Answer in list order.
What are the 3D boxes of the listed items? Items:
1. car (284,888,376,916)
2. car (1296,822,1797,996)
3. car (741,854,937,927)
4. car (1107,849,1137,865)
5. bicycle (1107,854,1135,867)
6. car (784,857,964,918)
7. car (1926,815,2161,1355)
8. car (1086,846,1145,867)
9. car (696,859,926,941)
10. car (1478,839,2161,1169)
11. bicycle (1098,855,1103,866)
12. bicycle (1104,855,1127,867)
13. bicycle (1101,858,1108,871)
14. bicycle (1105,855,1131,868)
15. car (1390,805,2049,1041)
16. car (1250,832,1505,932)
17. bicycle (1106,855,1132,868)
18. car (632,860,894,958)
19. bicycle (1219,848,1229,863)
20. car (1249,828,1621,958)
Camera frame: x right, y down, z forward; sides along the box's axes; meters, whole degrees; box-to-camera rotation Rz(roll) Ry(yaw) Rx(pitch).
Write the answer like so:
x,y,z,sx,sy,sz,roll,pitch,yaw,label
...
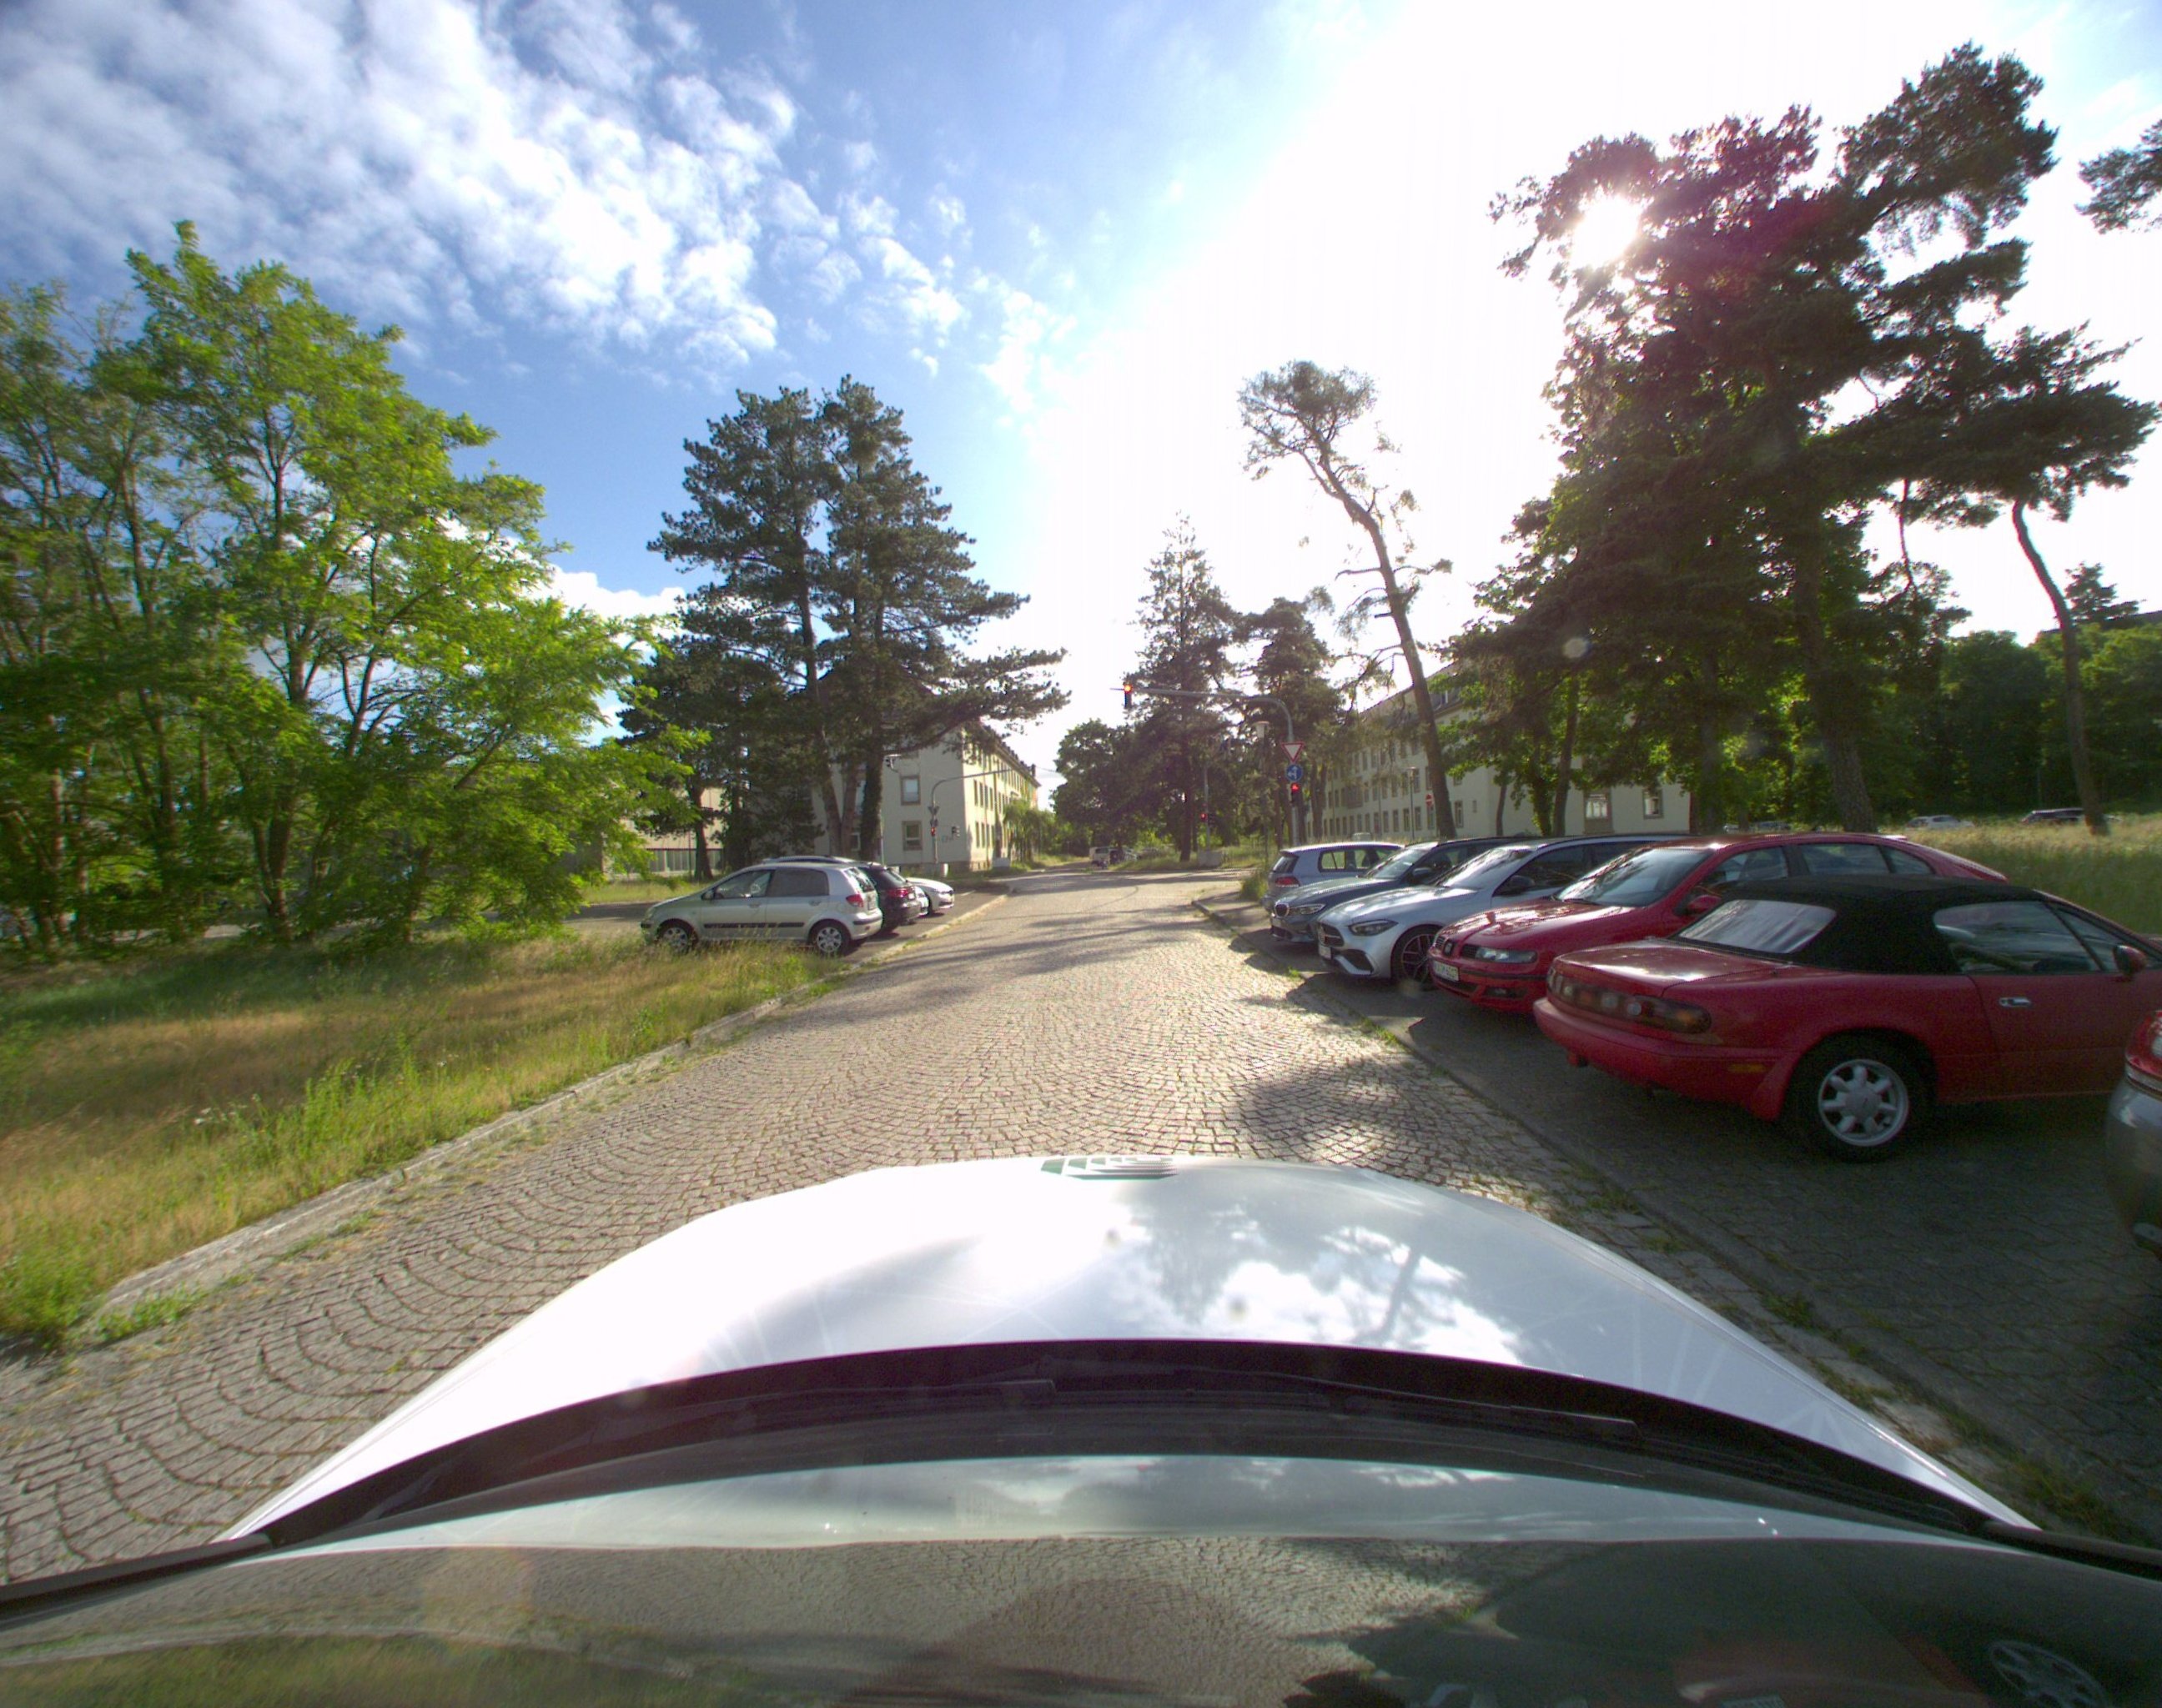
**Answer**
x,y,z,sx,sy,sz,roll,pitch,yaw,label
-46.843,2.965,50.946,1.895,1.433,4.002,-2,0,2,car
4.814,0.536,8.934,4.415,1.415,1.782,-4,1,2,car
-5.617,0.816,19.310,4.069,1.593,1.884,0,1,-2,car
3.915,0.288,77.841,2.775,1.467,1.669,0,0,-3,car
3.129,0.482,63.375,2.106,1.010,0.619,0,-1,-6,bicycle
-5.400,0.854,21.662,4.321,1.468,1.830,0,1,-2,car
4.750,0.527,1.847,3.693,1.449,1.817,-4,1,1,car
3.457,0.256,81.380,5.534,2.014,1.989,0,0,-17,car
-5.281,0.869,16.340,3.976,1.480,1.802,0,1,-2,car
4.466,0.656,4.457,3.693,1.223,1.747,-4,1,2,car
1.751,0.592,73.065,0.415,1.010,1.484,0,0,3,bicycle
2.824,0.589,66.852,1.835,1.010,0.634,0,-1,-6,bicycle
1.720,0.765,59.814,0.466,1.010,1.585,0,0,-2,bicycle
2.972,0.583,65.974,2.025,1.010,0.626,0,-1,-6,bicycle
4.973,0.504,6.792,4.111,1.449,1.637,-4,1,2,car
5.113,0.460,14.427,3.867,1.415,1.637,-4,1,2,car
3.019,0.578,65.090,2.002,1.010,0.631,0,-1,-6,bicycle
-5.213,0.869,13.716,3.736,1.487,1.645,0,1,-2,car
8.962,0.097,51.139,0.300,0.961,1.585,0,0,-2,bicycle
4.867,0.511,11.651,4.542,1.415,1.637,-4,1,2,car
